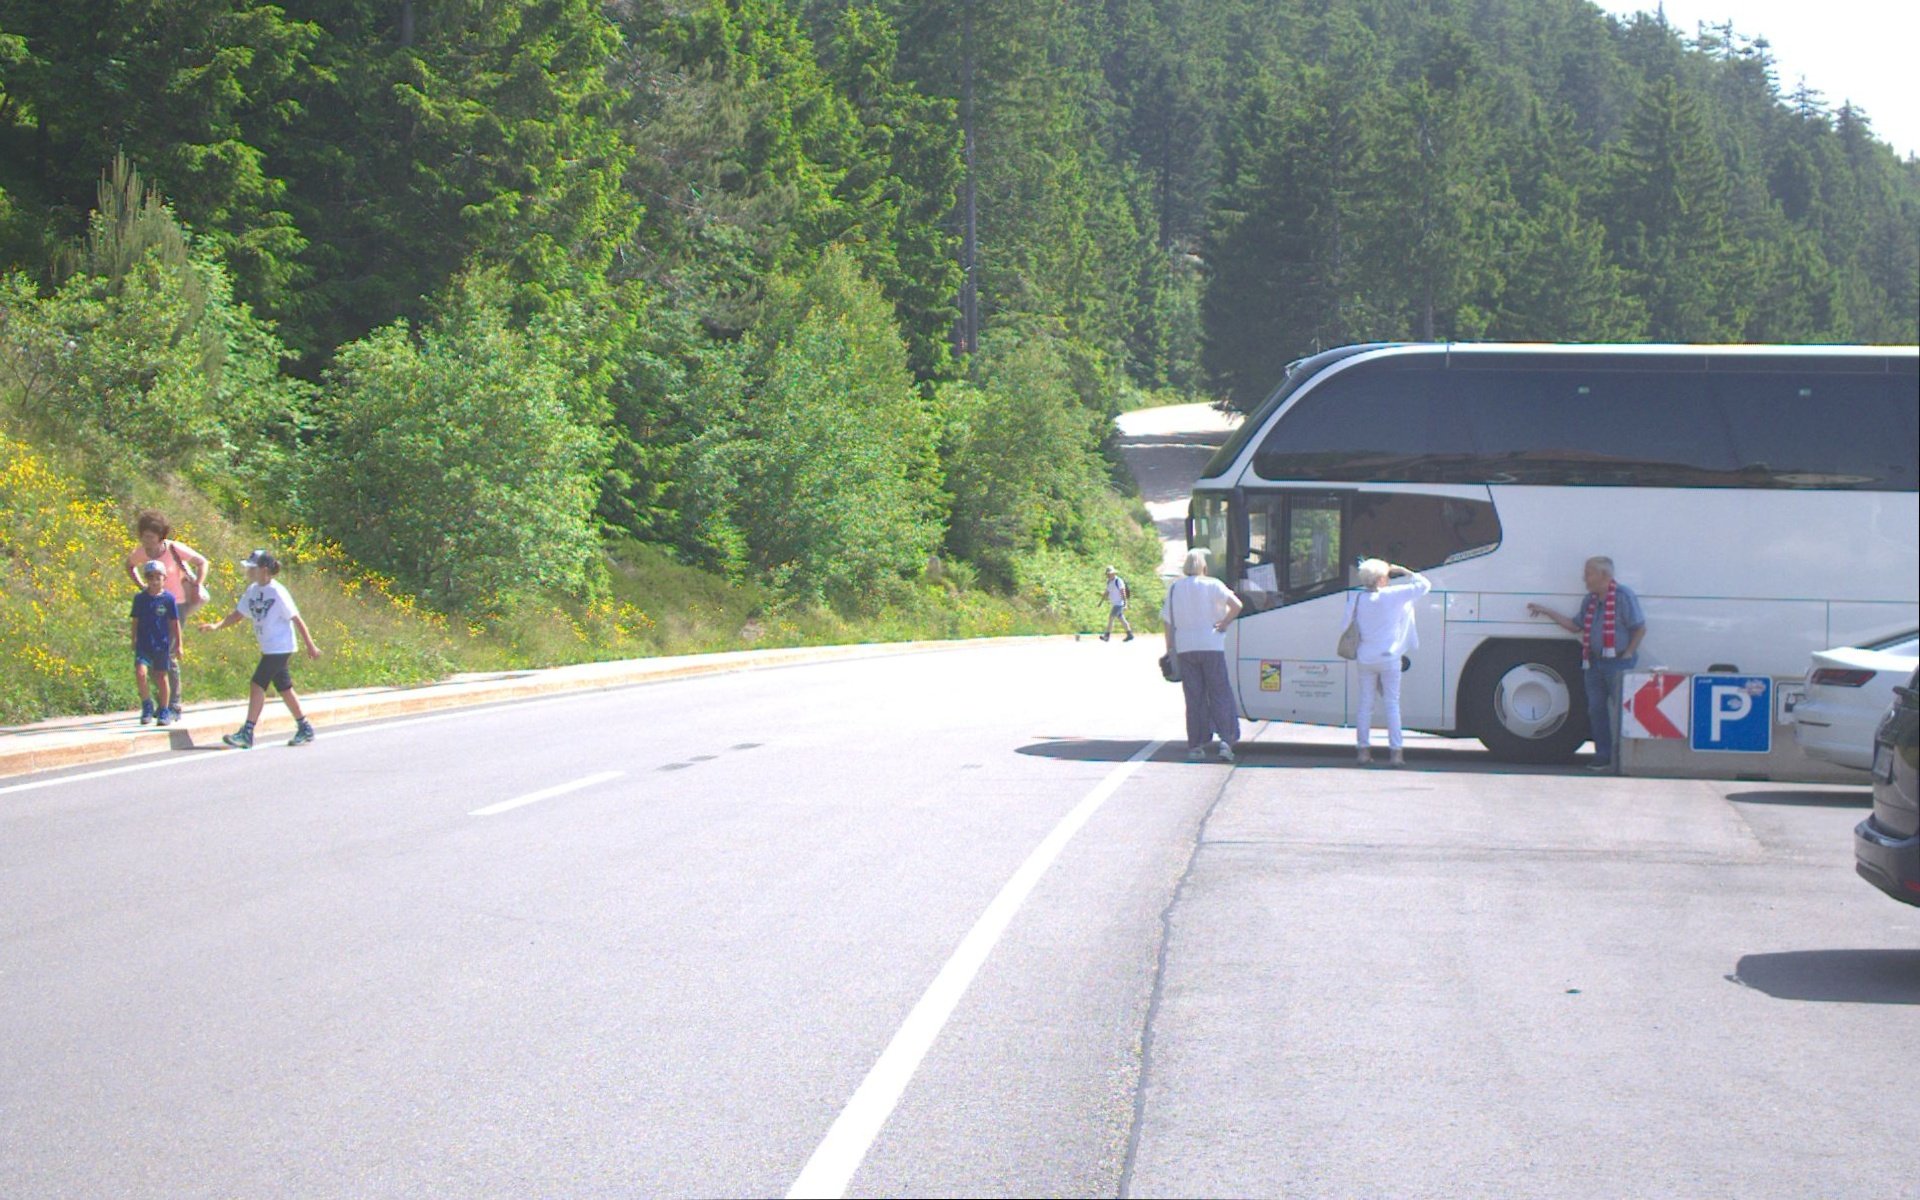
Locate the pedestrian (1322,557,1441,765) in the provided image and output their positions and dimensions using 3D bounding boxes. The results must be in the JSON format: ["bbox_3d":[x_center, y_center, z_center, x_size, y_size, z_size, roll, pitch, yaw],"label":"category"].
[{"bbox_3d":[3.302,0.460,26.919,0.645,1.590,0.743,1,1,37],"label":"pedestrian"}]

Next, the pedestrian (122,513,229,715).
[{"bbox_3d":[-6.469,0.105,28.375,0.576,1.637,0.894,0,1,7],"label":"pedestrian"}]

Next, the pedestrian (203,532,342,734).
[{"bbox_3d":[-5.337,0.241,26.694,0.877,1.532,0.582,-1,1,-42],"label":"pedestrian"}]

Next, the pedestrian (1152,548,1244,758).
[{"bbox_3d":[1.887,0.409,27.316,0.707,1.637,0.745,0,1,3],"label":"pedestrian"}]

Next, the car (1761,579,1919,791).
[{"bbox_3d":[7.823,0.622,23.643,4.427,1.391,1.717,2,1,15],"label":"car"}]

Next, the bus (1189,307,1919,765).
[{"bbox_3d":[8.461,-0.499,27.960,12.853,3.565,2.837,1,1,12],"label":"bus"}]

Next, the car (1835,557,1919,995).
[{"bbox_3d":[5.486,0.665,12.748,4.131,1.539,1.672,1,1,7],"label":"car"}]

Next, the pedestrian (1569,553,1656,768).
[{"bbox_3d":[5.090,0.459,26.786,0.644,1.637,0.744,0,1,12],"label":"pedestrian"}]

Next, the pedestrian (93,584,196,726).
[{"bbox_3d":[-6.487,0.431,27.367,0.568,1.098,0.744,0,1,7],"label":"pedestrian"}]

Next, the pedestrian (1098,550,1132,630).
[{"bbox_3d":[3.393,-0.224,75.290,0.682,1.740,0.825,1,0,4],"label":"pedestrian"}]
